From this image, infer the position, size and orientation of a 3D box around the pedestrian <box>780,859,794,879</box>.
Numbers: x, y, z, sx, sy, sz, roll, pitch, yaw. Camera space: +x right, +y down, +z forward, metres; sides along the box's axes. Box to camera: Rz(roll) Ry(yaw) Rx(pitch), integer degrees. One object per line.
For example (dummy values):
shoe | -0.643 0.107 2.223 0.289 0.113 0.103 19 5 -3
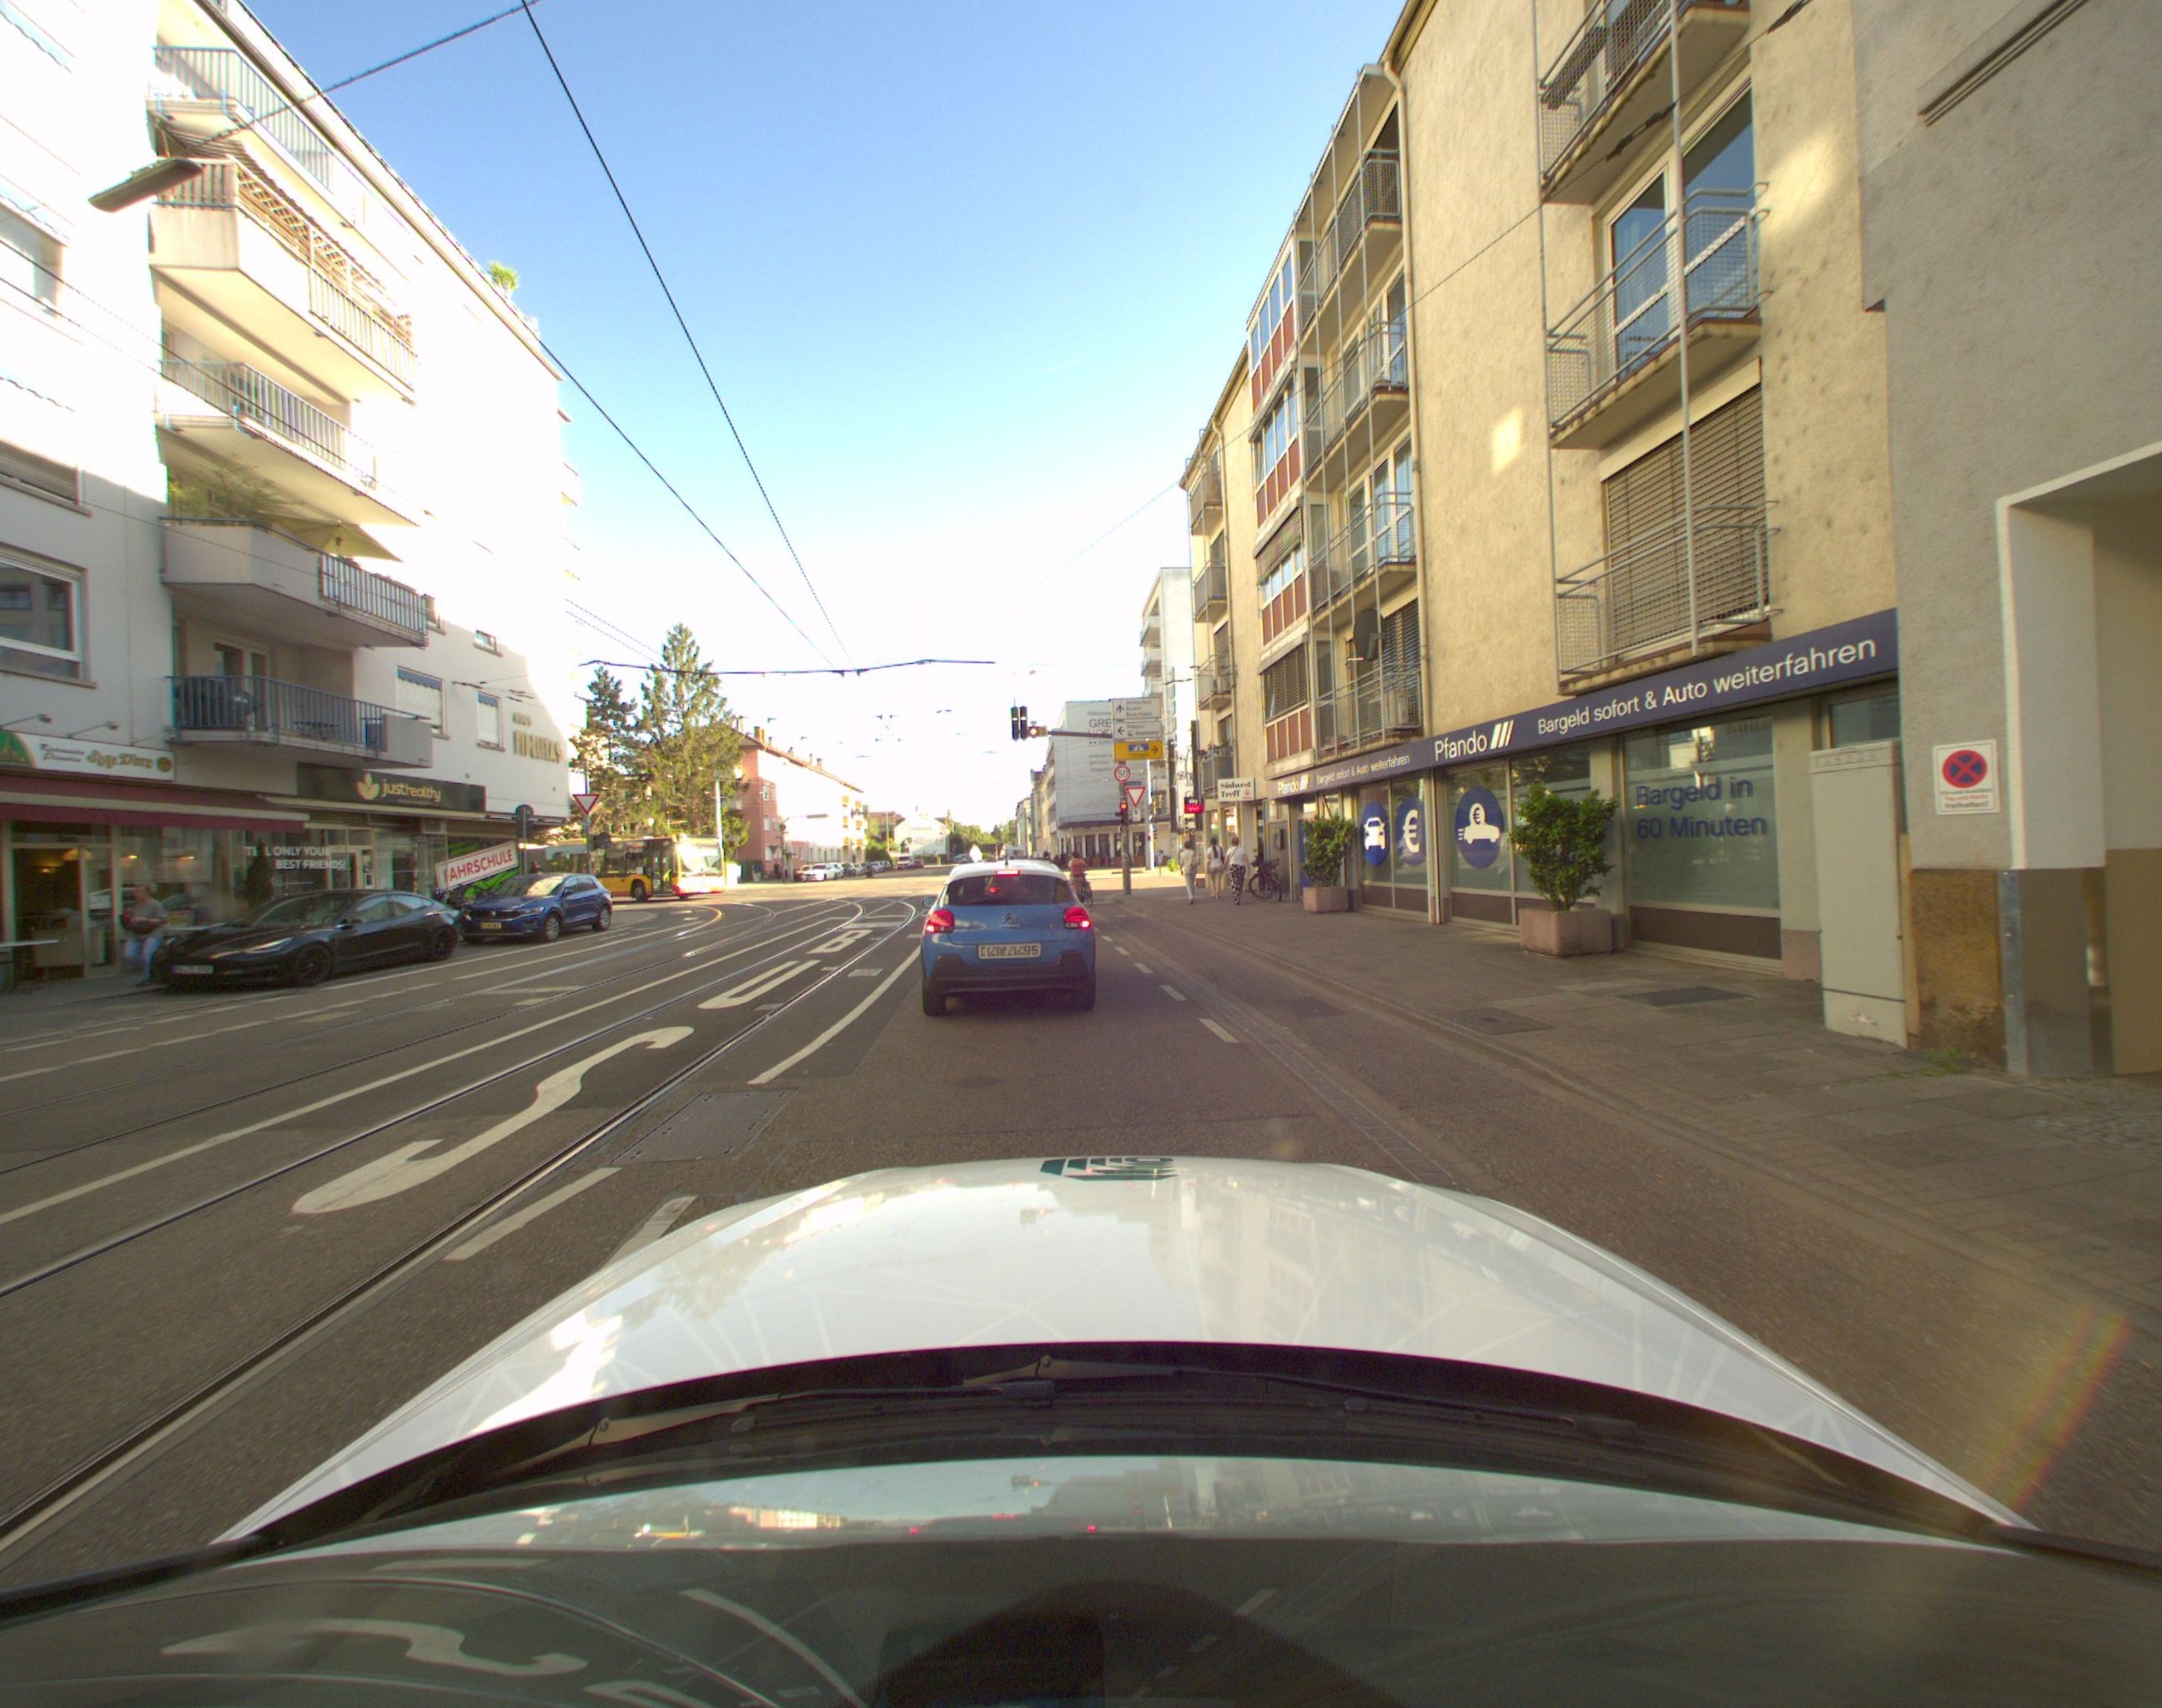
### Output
pedestrian | -25.652 1.341 71.087 0.841 1.690 0.737 -2 0 0

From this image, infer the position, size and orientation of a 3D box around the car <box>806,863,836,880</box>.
car | -24.808 1.662 77.785 1.909 1.497 3.991 -2 0 -6

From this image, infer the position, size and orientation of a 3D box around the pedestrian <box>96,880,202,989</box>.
pedestrian | -14.124 1.197 12.364 0.696 1.548 0.721 -2 1 -2

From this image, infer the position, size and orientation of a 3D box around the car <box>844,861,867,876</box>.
car | -26.314 1.680 95.263 1.909 1.497 3.991 -2 0 -6

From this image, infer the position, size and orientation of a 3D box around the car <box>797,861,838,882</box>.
car | -21.320 1.379 66.051 1.843 1.574 4.402 -2 0 1

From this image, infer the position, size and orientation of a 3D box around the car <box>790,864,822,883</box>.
car | -24.315 1.708 72.079 1.910 1.433 3.989 -2 0 -8

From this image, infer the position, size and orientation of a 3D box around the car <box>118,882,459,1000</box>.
car | -12.750 1.289 13.577 1.696 1.509 4.304 -1 -1 -5

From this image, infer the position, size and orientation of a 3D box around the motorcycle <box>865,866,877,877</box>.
motorcycle | -18.262 1.502 70.814 0.614 0.864 1.669 -2 0 -2

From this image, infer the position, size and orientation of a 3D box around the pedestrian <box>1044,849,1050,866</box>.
pedestrian | -3.250 0.346 77.654 0.491 1.556 0.383 -2 0 -6

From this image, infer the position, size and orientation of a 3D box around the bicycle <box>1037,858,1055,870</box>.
bicycle | -3.016 0.855 70.238 1.499 0.957 0.701 -2 0 -1

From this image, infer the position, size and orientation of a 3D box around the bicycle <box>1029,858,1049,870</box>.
bicycle | -3.720 0.883 72.624 1.715 0.957 0.701 -2 0 -1

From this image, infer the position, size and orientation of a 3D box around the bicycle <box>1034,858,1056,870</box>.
bicycle | -3.147 0.861 71.292 1.868 0.957 0.701 -2 0 -1

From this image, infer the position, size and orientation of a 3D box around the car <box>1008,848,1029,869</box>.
car | -5.509 0.429 71.660 1.730 1.750 3.207 -1 0 -5

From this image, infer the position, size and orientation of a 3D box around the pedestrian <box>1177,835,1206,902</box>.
pedestrian | 2.854 0.370 21.085 0.540 1.672 0.623 -4 2 -4

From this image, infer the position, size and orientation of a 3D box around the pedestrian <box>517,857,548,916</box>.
pedestrian | -19.175 1.123 28.464 0.686 2.013 0.485 -2 0 -8

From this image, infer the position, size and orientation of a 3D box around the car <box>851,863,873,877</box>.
car | -27.106 1.986 100.798 1.909 1.497 3.991 -2 0 -6

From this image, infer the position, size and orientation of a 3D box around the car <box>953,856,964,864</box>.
car | -25.931 1.227 172.613 2.019 1.525 3.991 -2 0 -6

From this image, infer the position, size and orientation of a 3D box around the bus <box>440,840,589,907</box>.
bus | -29.231 1.022 41.975 7.484 3.161 2.762 -2 0 24

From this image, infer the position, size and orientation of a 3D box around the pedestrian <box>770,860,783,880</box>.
pedestrian | -26.524 1.362 70.938 0.841 1.690 0.737 -2 0 0

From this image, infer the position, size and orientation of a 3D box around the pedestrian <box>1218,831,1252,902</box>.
pedestrian | 3.743 0.294 19.845 0.540 1.672 0.649 -4 0 -4

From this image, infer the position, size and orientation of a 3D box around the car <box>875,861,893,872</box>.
car | -28.789 1.795 119.221 1.868 1.574 3.992 -2 0 -6

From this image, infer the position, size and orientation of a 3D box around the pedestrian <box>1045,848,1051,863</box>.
pedestrian | -3.404 0.190 84.115 0.492 1.556 0.645 -2 0 -11

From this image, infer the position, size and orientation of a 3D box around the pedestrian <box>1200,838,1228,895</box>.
pedestrian | 3.665 0.324 22.417 0.540 1.507 0.610 -4 2 -4

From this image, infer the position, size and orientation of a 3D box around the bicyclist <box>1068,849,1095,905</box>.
bicyclist | 0.002 0.675 24.663 0.724 1.646 0.789 -2 0 -3

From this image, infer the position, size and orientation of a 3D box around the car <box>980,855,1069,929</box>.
car | -1.201 0.761 18.313 1.734 1.420 3.997 -2 0 -2

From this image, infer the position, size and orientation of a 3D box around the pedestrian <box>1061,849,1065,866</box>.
pedestrian | -1.671 0.327 74.443 0.284 1.556 0.304 -2 0 -11

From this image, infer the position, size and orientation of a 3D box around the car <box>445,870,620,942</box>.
car | -13.044 1.158 19.681 1.741 1.509 3.993 -1 -1 -5

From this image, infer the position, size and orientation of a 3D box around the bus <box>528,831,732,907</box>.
bus | -21.315 0.756 38.312 10.070 3.158 2.747 -2 0 24

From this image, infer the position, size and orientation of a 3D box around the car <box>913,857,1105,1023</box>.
car | -0.920 0.783 9.485 1.743 1.462 3.989 -1 0 -8

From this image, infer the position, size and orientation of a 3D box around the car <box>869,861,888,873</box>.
car | -28.352 1.817 114.147 1.909 1.497 3.991 -2 0 -6

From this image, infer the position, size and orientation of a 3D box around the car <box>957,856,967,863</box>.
car | -27.797 1.239 190.224 2.019 1.525 3.991 -3 0 -6

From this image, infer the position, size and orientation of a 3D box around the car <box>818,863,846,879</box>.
car | -25.192 1.714 82.392 1.909 1.497 3.991 -2 0 -6

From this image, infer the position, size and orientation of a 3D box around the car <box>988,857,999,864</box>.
car | -17.139 1.182 159.428 1.755 1.259 3.820 -2 0 -9

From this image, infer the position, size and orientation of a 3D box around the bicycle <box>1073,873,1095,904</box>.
bicycle | 0.073 1.056 25.091 0.498 0.864 1.746 -2 0 -4

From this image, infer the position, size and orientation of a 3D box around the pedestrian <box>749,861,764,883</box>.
pedestrian | -26.173 1.424 65.682 0.841 1.690 0.737 -2 0 0

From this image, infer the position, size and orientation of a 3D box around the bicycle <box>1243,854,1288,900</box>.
bicycle | 4.601 0.559 20.399 0.529 1.072 1.807 -2 0 -5

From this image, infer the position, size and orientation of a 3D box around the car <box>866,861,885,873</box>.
car | -27.503 1.774 109.187 1.909 1.497 3.991 -2 0 -6

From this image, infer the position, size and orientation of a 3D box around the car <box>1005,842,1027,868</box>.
car | -6.131 0.117 76.549 1.991 2.325 3.992 -1 0 -5

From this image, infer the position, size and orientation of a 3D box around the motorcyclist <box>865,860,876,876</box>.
motorcyclist | -18.257 1.214 70.660 0.717 1.378 0.911 -2 0 -2

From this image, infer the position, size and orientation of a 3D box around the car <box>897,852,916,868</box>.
car | -26.176 0.859 122.504 2.204 2.251 4.667 -2 0 -6

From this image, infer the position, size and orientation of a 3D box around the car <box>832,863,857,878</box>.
car | -25.888 1.817 89.142 1.909 1.497 3.991 -2 0 -6

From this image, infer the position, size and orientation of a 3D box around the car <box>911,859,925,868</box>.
car | -29.551 1.762 147.565 2.019 1.525 3.991 -2 0 -6
